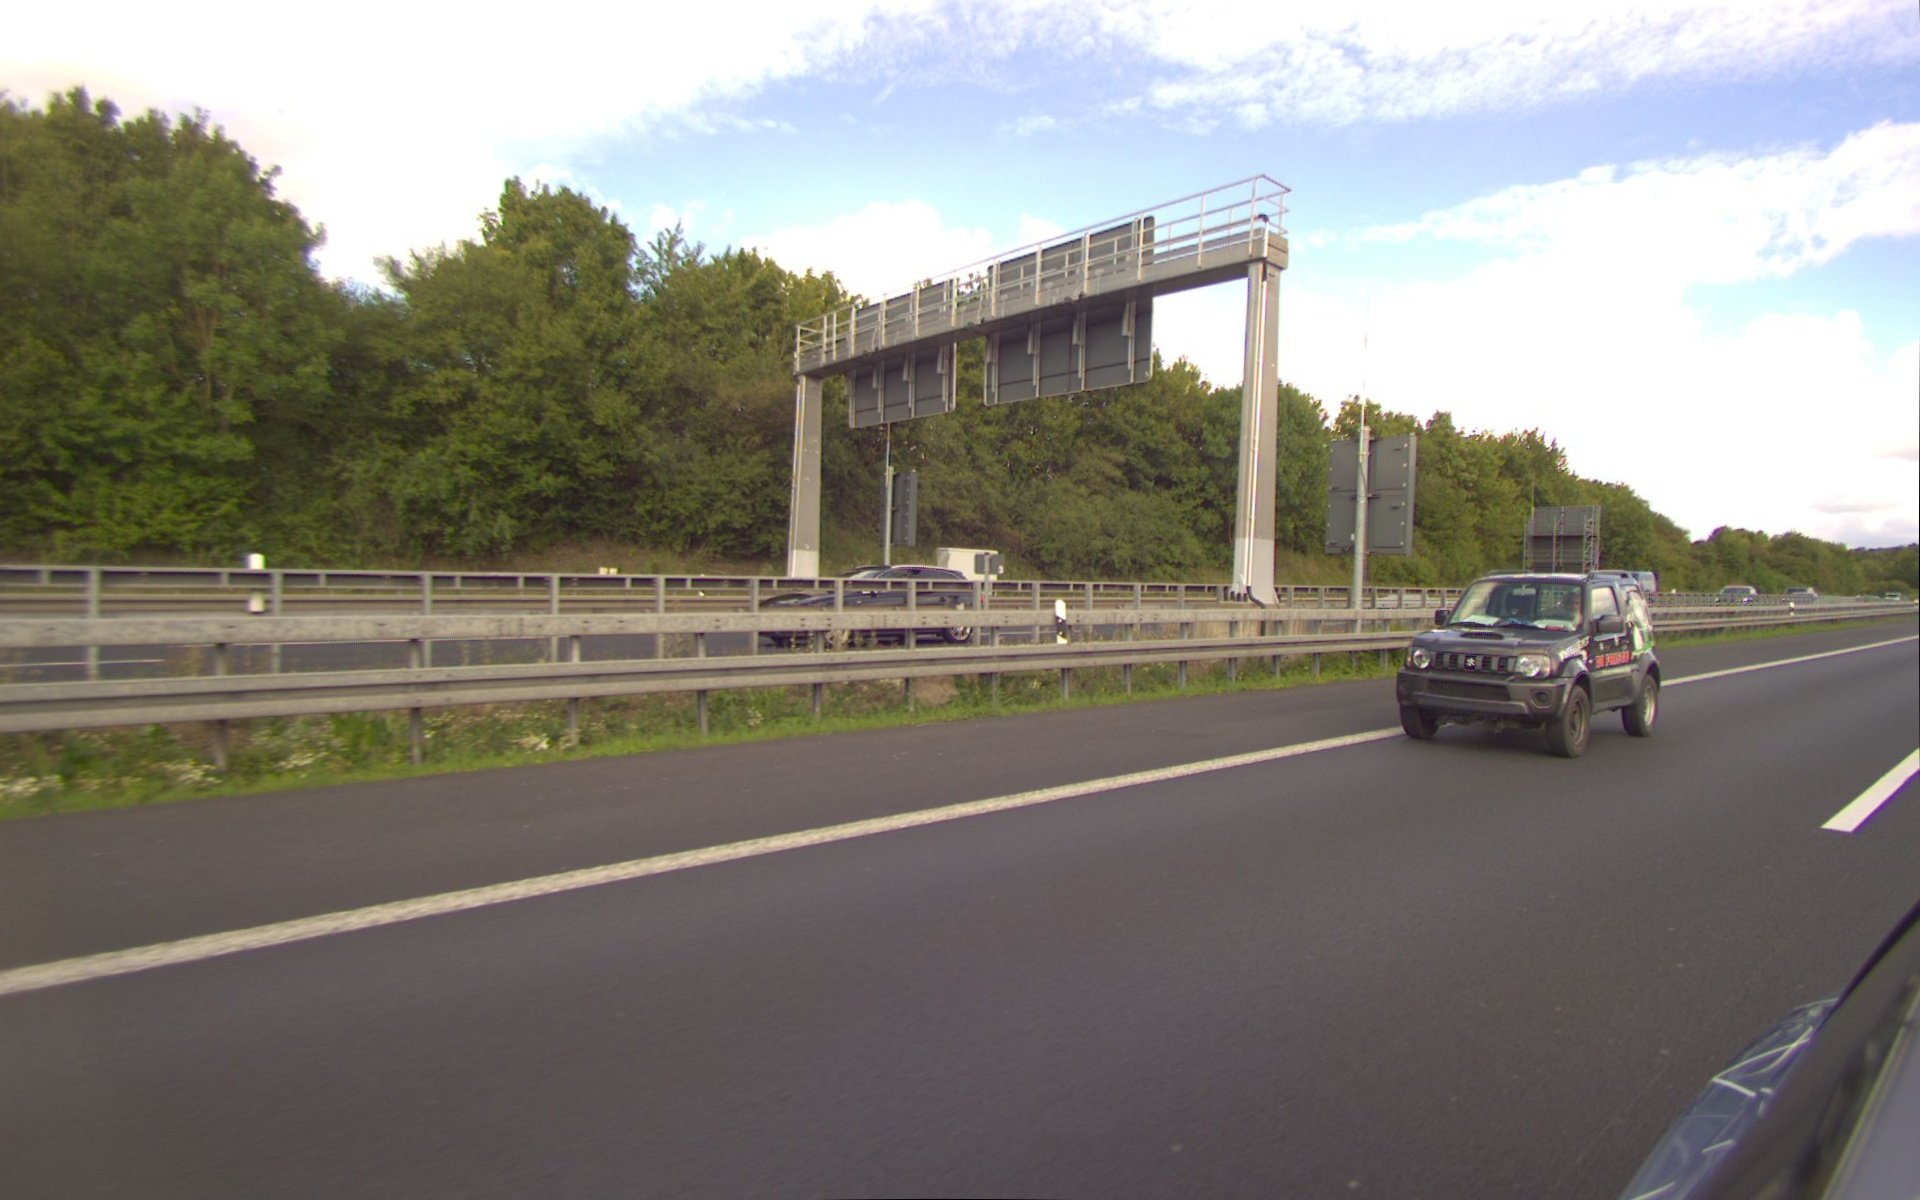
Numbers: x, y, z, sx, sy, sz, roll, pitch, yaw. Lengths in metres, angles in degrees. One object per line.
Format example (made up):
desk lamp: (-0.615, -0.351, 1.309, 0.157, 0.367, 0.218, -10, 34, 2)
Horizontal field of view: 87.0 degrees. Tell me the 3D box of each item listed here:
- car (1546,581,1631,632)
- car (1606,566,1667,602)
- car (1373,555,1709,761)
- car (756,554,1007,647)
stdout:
car: (27.425, 0.256, 44.160, 3.930, 2.038, 1.998, 0, 3, -41)
car: (43.121, -1.029, 64.464, 5.040, 2.212, 1.997, -1, 2, -42)
car: (6.179, 0.452, 10.584, 4.131, 1.754, 1.670, 0, 2, -39)
car: (-1.350, -0.041, 18.462, 4.236, 1.503, 1.997, -1, 2, -42)
